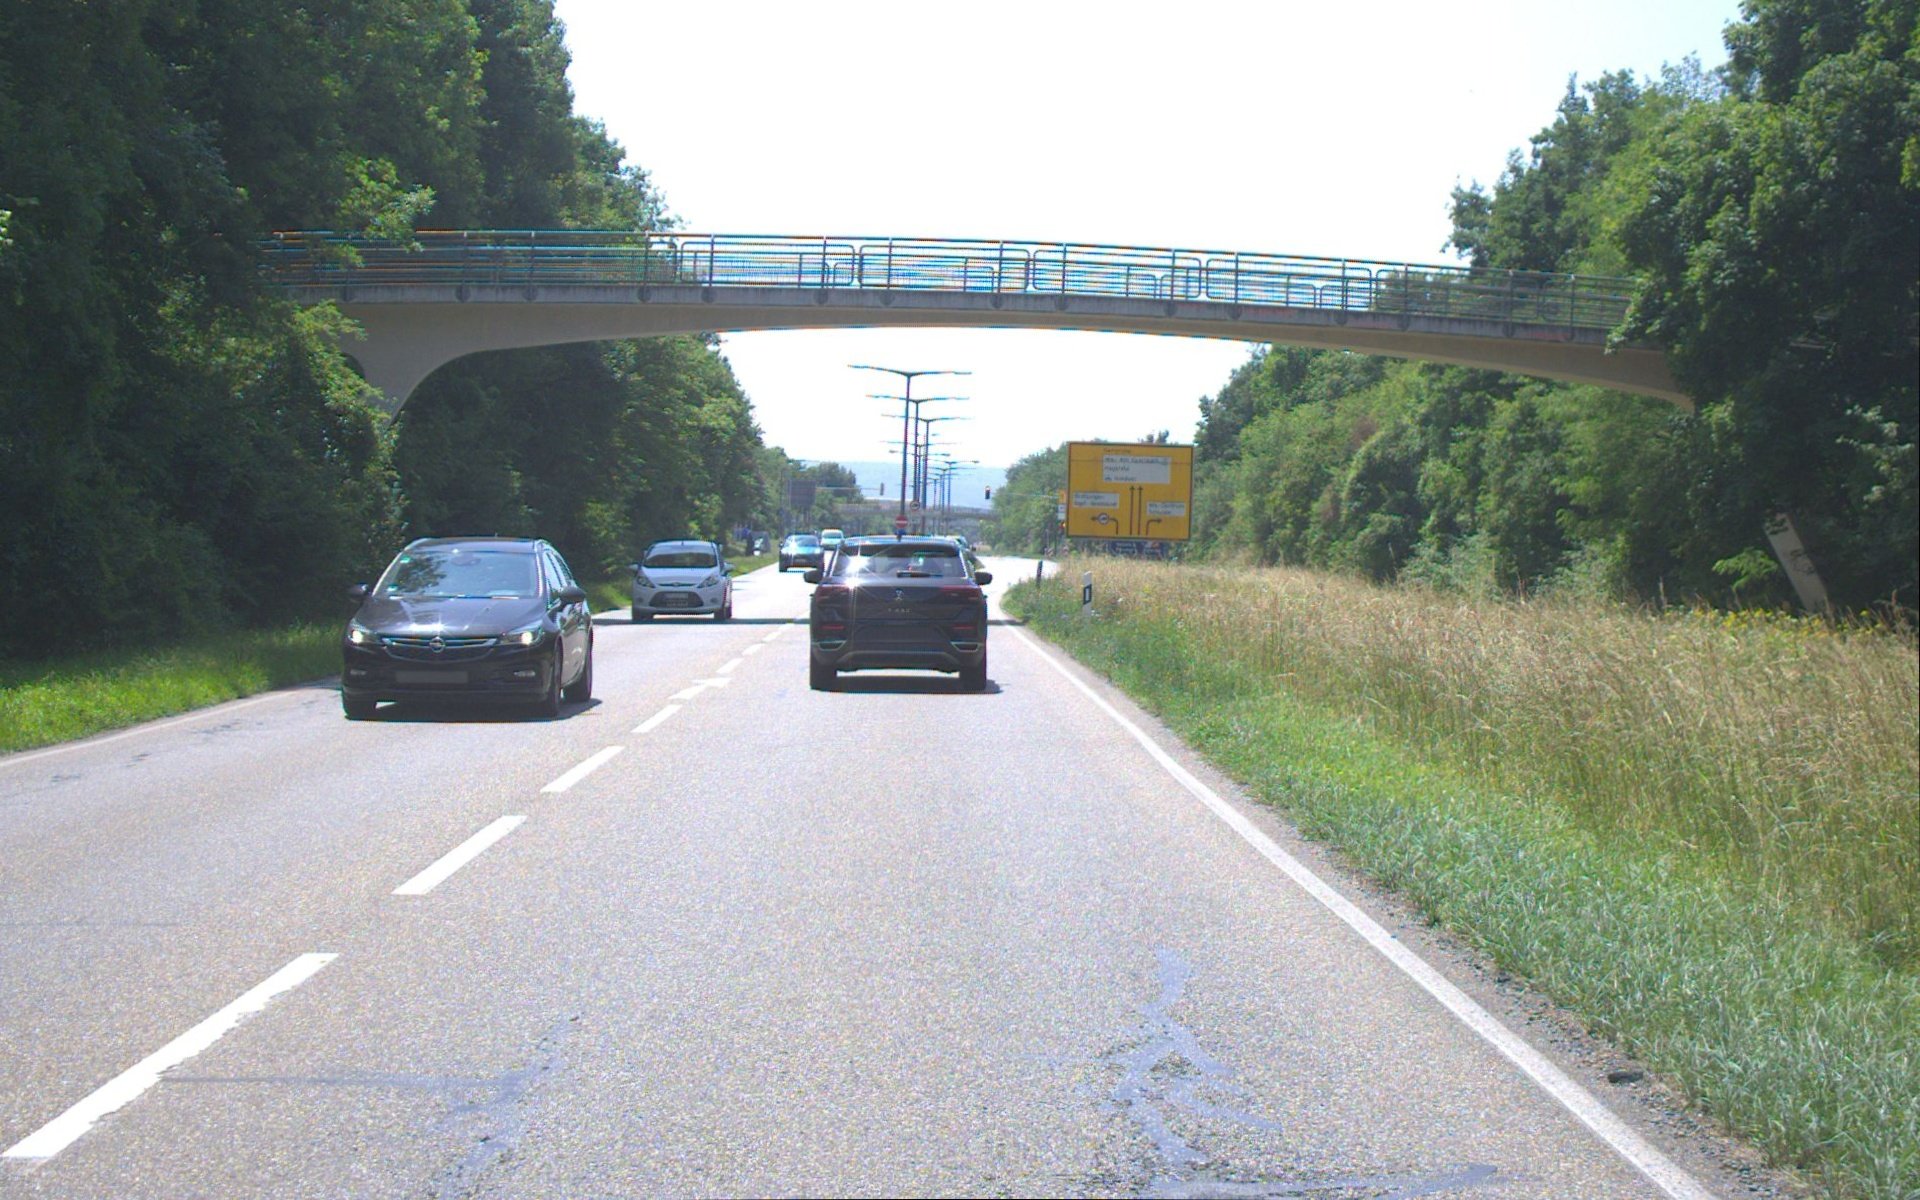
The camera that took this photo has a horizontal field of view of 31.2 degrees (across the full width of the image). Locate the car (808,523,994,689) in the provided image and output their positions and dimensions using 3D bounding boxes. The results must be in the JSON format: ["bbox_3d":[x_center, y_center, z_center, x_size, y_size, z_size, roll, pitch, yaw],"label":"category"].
[{"bbox_3d":[-0.584,0.026,35.312,1.755,1.550,4.000,2,1,0],"label":"car"}]

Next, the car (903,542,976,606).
[{"bbox_3d":[-0.532,-0.687,87.272,1.797,1.577,4.000,0,1,0],"label":"car"}]

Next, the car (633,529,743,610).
[{"bbox_3d":[-4.951,-0.577,62.914,1.677,1.428,3.772,0,1,1],"label":"car"}]

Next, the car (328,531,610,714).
[{"bbox_3d":[-4.148,0.137,29.635,1.784,1.444,4.109,0,1,1],"label":"car"}]

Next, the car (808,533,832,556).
[{"bbox_3d":[-10.295,-4.072,253.011,1.731,1.682,4.095,0,1,-1],"label":"car"}]

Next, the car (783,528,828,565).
[{"bbox_3d":[-6.836,-2.380,152.595,1.823,1.584,4.420,0,1,0],"label":"car"}]
